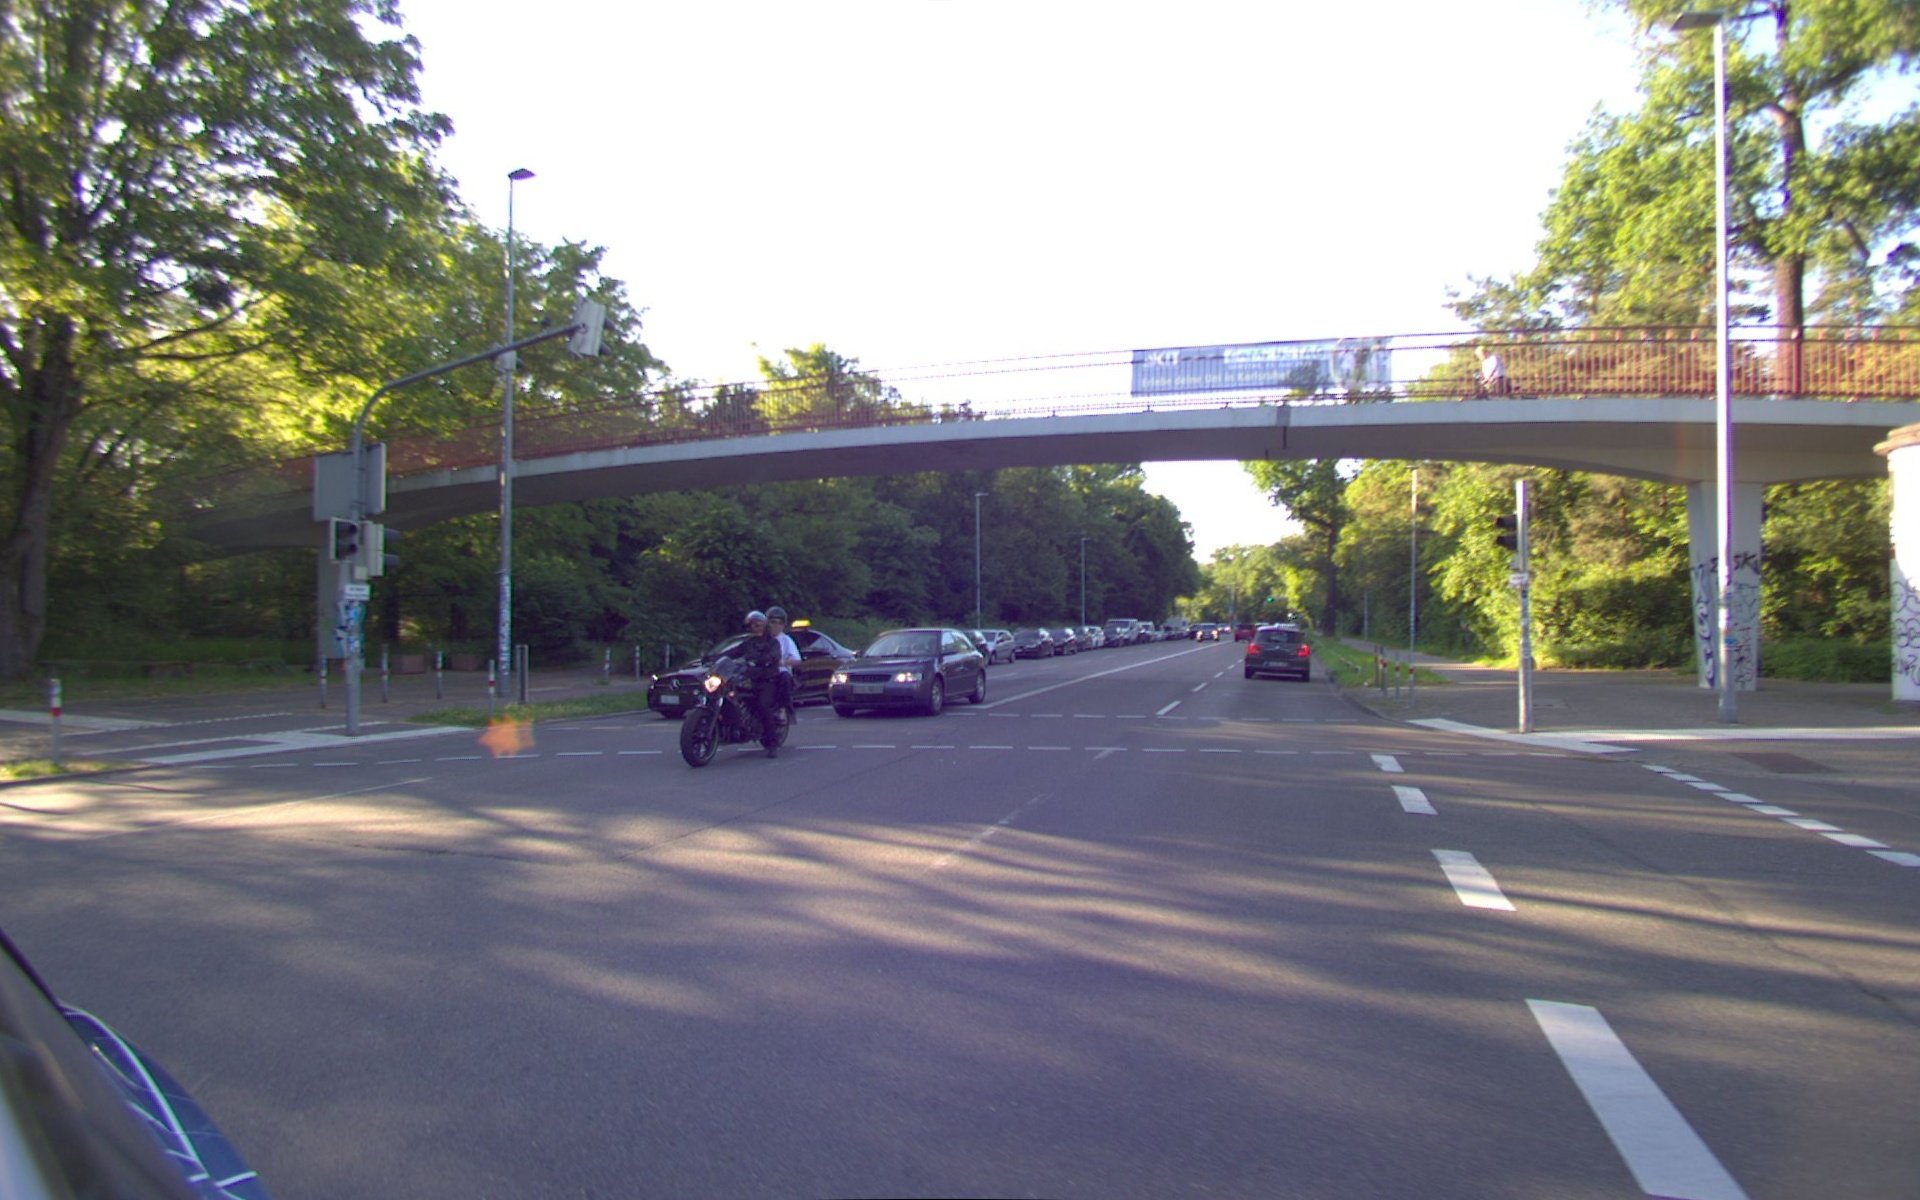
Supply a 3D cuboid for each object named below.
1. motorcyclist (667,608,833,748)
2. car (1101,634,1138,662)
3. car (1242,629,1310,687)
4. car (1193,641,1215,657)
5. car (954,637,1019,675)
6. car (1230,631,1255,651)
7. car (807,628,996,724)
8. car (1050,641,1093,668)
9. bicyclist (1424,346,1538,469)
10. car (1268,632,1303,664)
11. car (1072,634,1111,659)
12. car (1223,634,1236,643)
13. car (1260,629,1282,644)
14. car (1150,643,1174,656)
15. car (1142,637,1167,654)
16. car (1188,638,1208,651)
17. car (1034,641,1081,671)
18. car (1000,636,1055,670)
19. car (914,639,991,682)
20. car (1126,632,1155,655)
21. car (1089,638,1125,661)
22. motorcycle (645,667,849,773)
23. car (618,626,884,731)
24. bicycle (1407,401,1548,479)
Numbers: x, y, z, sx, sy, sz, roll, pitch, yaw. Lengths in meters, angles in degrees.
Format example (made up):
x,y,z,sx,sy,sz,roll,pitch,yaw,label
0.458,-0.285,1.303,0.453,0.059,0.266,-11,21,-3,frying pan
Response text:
x,y,z,sx,sy,sz,roll,pitch,yaw,label
-2.325,0.823,11.393,1.132,1.438,1.553,-1,-1,25,motorcyclist
11.942,3.542,75.575,2.002,1.991,5.011,0,-2,18,car
8.866,1.583,28.343,1.699,1.464,3.617,1,-2,18,car
20.167,4.016,83.505,1.454,1.254,3.976,-1,-3,18,car
1.153,2.299,42.151,1.708,1.519,3.952,0,-2,18,car
22.366,3.226,80.049,1.742,1.467,3.617,1,-2,18,car
-0.836,1.217,16.973,1.854,1.400,3.976,-2,-3,18,car
6.592,3.143,59.319,1.724,1.519,4.201,0,-2,18,car
11.027,-4.074,21.525,1.673,2.184,1.402,9,2,20,bicyclist
17.059,2.486,53.027,1.669,1.535,3.877,1,-2,18,car
8.403,2.943,64.224,1.724,1.519,4.369,0,-2,18,car
44.847,6.374,168.322,1.880,1.511,4.370,0,-2,18,car
31.032,3.632,100.995,1.951,1.517,4.619,-1,-2,18,car
20.549,5.035,102.826,1.901,1.230,3.977,-1,-2,17,car
18.825,4.366,97.925,1.880,1.558,4.370,0,-2,18,car
25.092,4.666,106.518,1.723,1.254,3.976,-1,-3,18,car
5.253,2.957,54.341,1.691,1.519,4.112,0,-2,18,car
3.287,2.526,48.654,1.724,1.519,4.128,0,-2,18,car
-0.230,2.210,37.601,1.681,1.519,4.101,-1,-3,18,car
15.645,3.757,87.547,1.937,1.991,4.369,0,-2,18,car
10.074,3.363,69.214,1.724,1.519,4.369,0,-2,18,car
-2.278,1.275,11.339,0.803,0.920,2.690,-1,-2,24,motorcycle
-3.620,1.339,18.987,1.987,1.647,5.842,-1,-2,22,car
10.911,-3.399,21.468,2.432,1.383,1.044,6,1,21,bicycle
